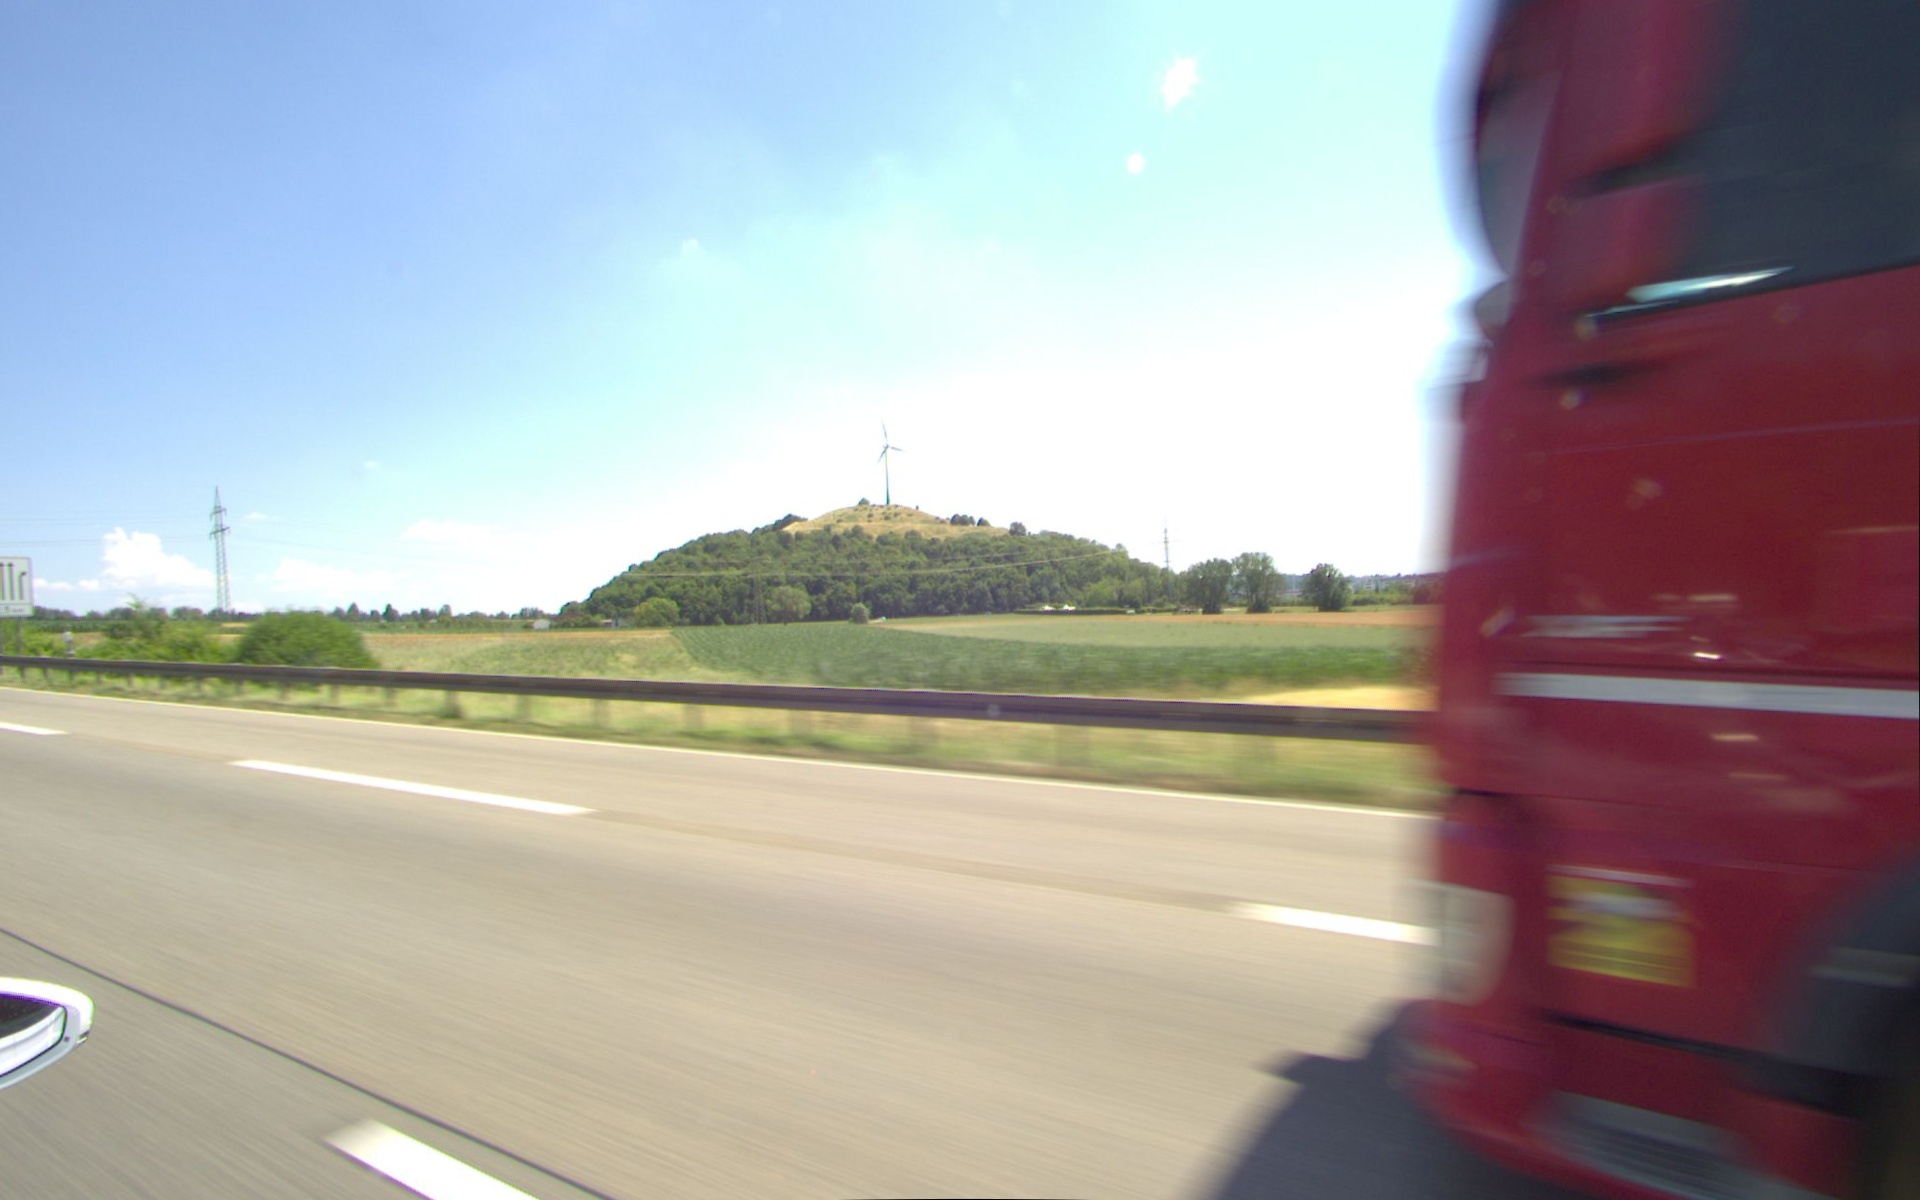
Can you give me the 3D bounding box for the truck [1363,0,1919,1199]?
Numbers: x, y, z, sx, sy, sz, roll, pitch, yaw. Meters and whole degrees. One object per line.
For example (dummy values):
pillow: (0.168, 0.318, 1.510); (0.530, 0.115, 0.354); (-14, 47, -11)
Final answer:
truck: (4.401, -0.501, 1.875); (6.415, 4.059, 2.913); (-2, -2, 31)
